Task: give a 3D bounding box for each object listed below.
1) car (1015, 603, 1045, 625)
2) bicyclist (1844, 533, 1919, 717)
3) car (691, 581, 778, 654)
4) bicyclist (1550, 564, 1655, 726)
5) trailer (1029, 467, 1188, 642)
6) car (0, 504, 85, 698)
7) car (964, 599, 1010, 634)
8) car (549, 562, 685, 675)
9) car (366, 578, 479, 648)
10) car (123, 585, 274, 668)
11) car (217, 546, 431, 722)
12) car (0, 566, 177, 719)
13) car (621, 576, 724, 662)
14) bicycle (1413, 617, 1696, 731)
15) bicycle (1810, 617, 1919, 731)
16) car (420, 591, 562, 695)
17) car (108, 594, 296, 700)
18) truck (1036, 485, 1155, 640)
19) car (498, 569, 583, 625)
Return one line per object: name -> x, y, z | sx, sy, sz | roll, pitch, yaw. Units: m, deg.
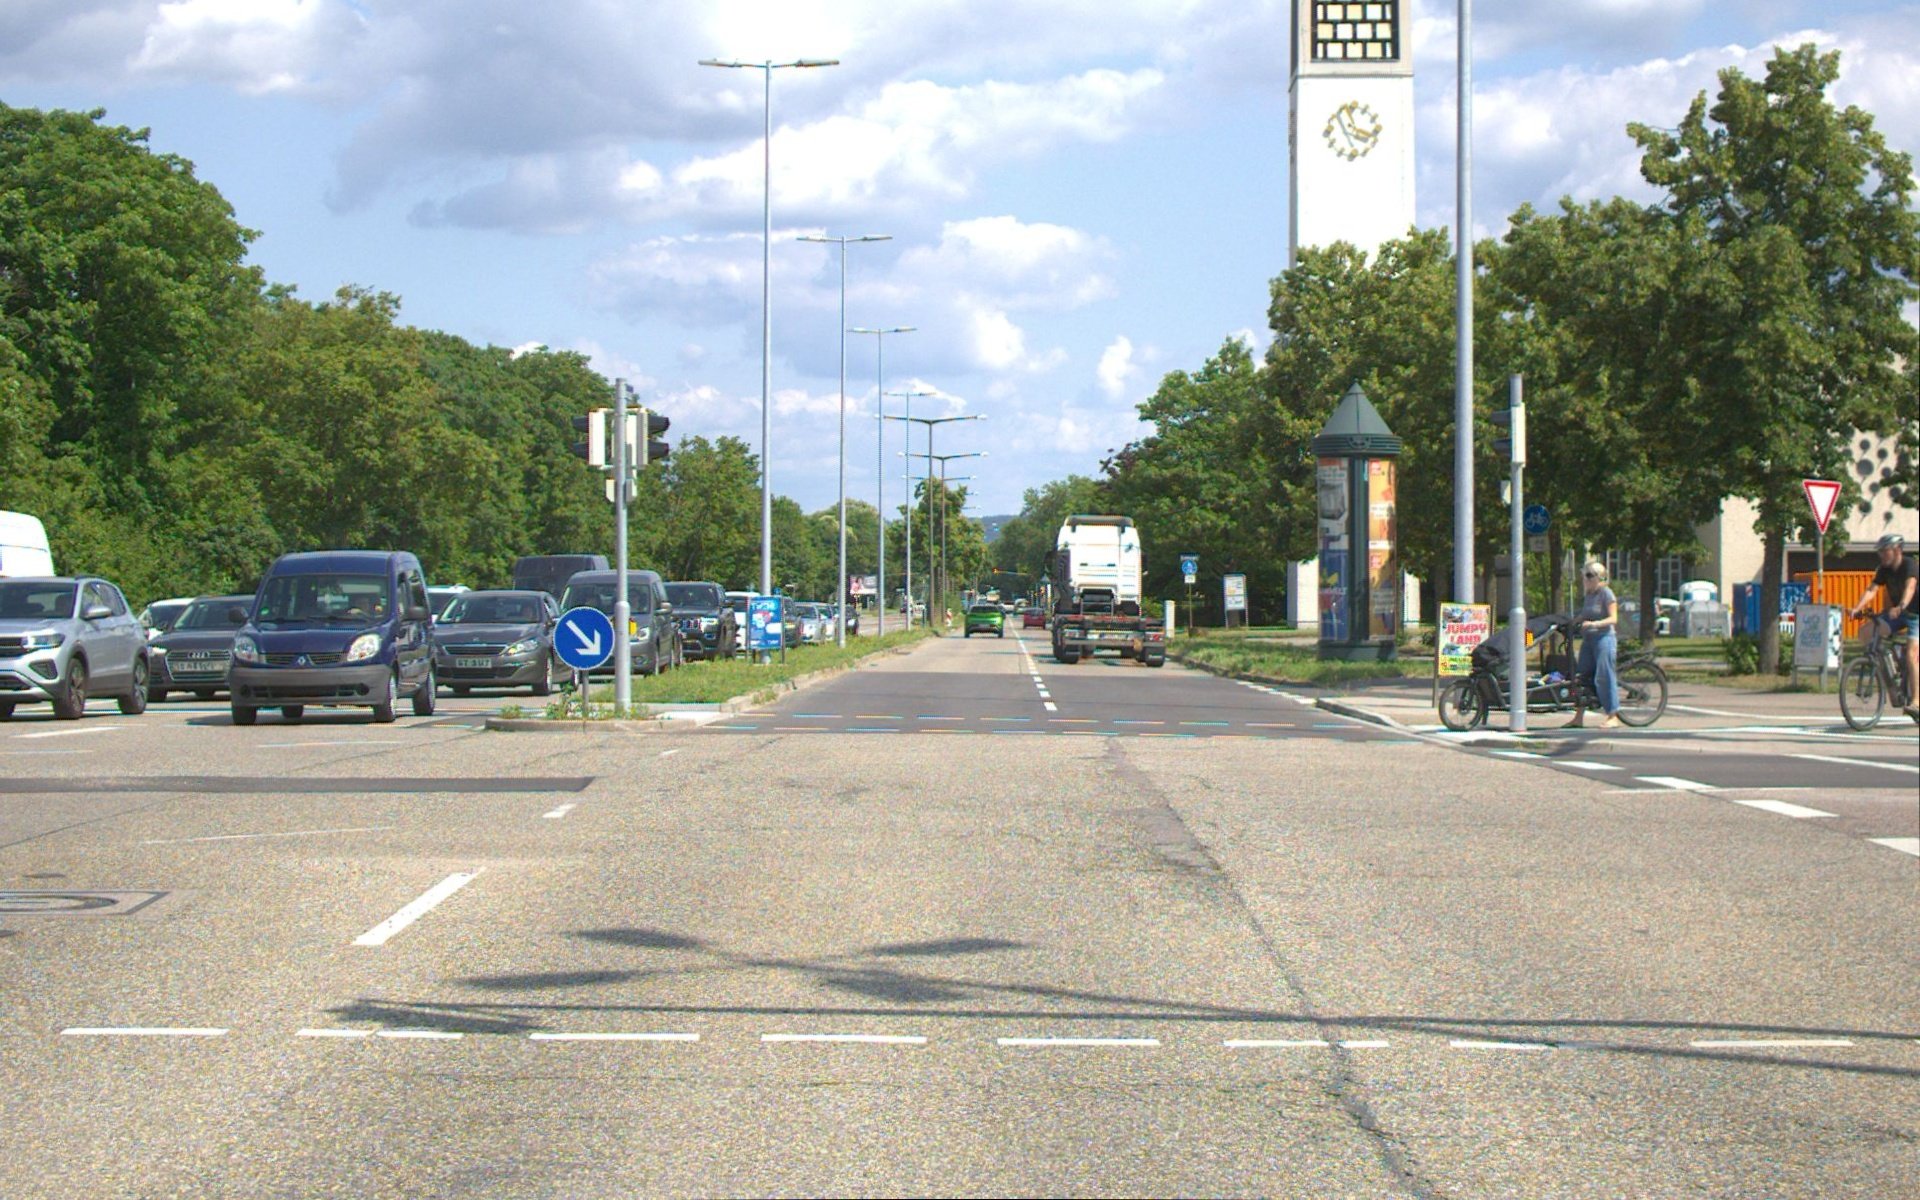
car -> 5.113, 1.018, 250.822 | 1.993, 1.547, 4.000 | 2, 0, -1
bicyclist -> 9.291, 0.240, 34.037 | 0.787, 1.798, 0.685 | 0, 0, -38
car -> -5.367, 0.408, 82.229 | 1.734, 1.654, 4.231 | 2, 0, 0
bicyclist -> 6.507, 0.445, 34.845 | 0.698, 1.610, 0.797 | 0, 0, -24
trailer -> 3.790, -1.001, 85.140 | 3.621, 3.998, 11.317 | 1, -1, 4
car -> -13.266, -0.021, 44.062 | 2.174, 2.463, 5.966 | 2, 0, 4
car -> 1.241, 0.744, 158.927 | 1.993, 1.547, 4.000 | 2, 0, -1
car -> -5.507, 0.264, 55.615 | 1.734, 1.654, 4.231 | 2, 1, 0
car -> -9.915, 0.236, 63.583 | 1.548, 1.213, 3.490 | 2, 0, -1
car -> -12.725, 0.433, 57.620 | 1.763, 1.347, 3.519 | 0, 0, -1
car -> -6.524, 0.328, 35.618 | 1.734, 1.654, 4.232 | 2, 0, -5
car -> -10.001, 0.420, 37.288 | 1.735, 1.538, 4.308 | 2, 0, 4
car -> -5.876, 0.373, 70.667 | 1.734, 1.654, 4.231 | 2, 0, -1
bicycle -> 5.994, 0.731, 34.628 | 2.832, 1.108, 0.797 | 0, 1, -24
bicycle -> 9.340, 0.722, 34.080 | 1.997, 1.090, 0.685 | 0, 0, -38
car -> -6.332, 0.560, 46.657 | 1.568, 1.311, 3.432 | 2, 0, -3
car -> -10.118, 0.606, 46.098 | 1.763, 1.347, 3.519 | 0, 0, -1
truck -> 3.750, -0.928, 93.140 | 2.960, 3.957, 8.636 | 1, -1, 4
car -> -9.758, -0.069, 80.217 | 1.548, 1.213, 3.490 | 2, 0, -1
